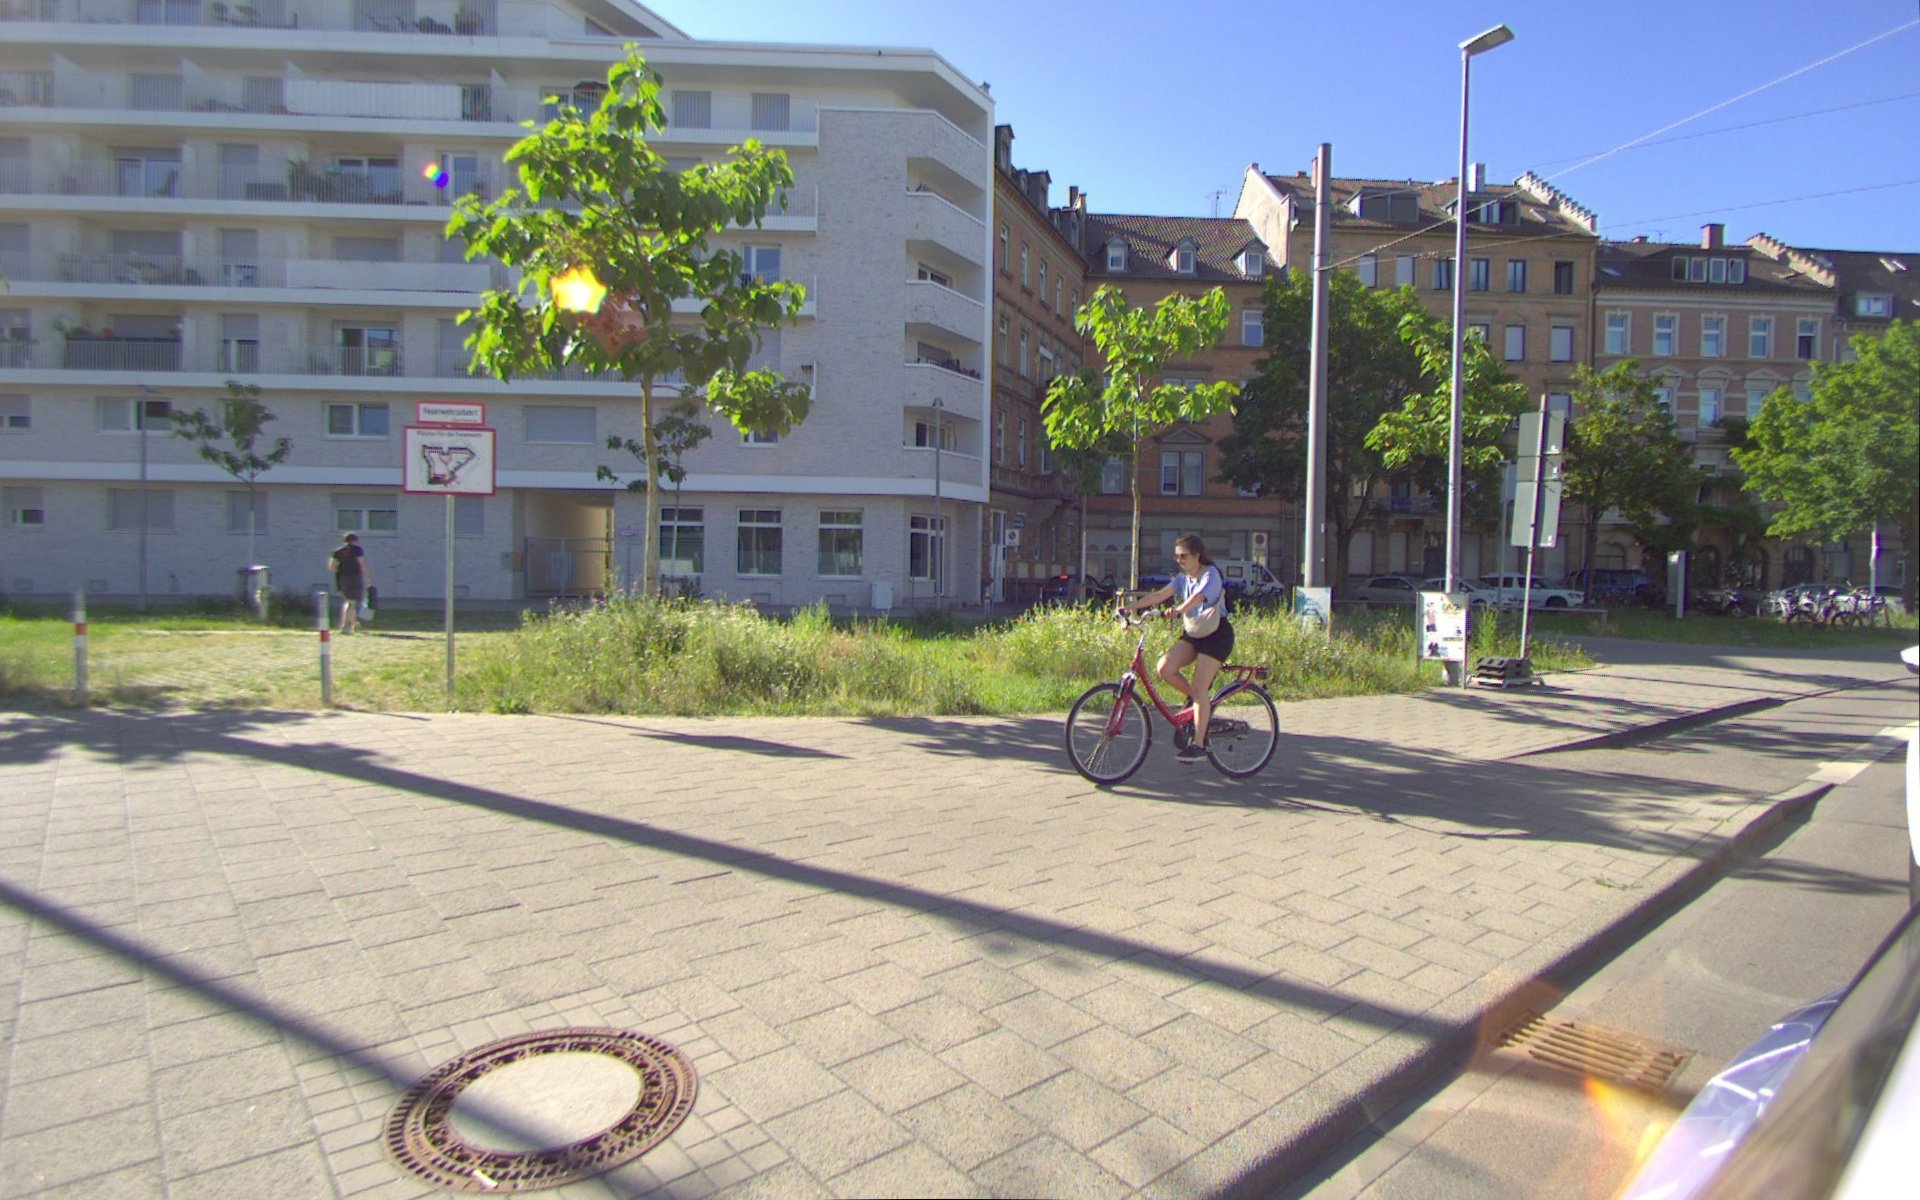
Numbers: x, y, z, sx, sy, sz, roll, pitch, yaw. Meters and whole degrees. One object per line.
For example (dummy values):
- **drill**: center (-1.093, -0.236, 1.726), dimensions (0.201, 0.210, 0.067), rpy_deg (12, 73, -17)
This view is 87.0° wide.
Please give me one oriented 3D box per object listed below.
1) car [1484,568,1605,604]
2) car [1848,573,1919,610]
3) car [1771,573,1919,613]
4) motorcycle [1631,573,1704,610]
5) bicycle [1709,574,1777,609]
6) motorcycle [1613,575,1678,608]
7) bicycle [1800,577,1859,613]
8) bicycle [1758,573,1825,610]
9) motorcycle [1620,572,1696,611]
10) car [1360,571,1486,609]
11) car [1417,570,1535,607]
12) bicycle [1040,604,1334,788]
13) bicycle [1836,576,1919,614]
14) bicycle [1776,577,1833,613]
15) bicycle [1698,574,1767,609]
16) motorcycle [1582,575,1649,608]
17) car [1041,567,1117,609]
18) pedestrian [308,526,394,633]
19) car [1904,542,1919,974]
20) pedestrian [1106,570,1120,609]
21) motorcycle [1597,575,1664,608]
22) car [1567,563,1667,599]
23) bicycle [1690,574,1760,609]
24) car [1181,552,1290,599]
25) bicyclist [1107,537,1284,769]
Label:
- **car**: center (22.330, -0.582, 38.776), dimensions (1.513, 1.267, 3.700), rpy_deg (-1, 3, -39)
- **car**: center (37.823, -0.333, 39.965), dimensions (1.649, 1.423, 3.832), rpy_deg (-1, 3, -32)
- **car**: center (34.686, -0.324, 39.595), dimensions (1.651, 1.423, 4.324), rpy_deg (-1, 3, -38)
- **motorcycle**: center (26.155, -0.324, 37.471), dimensions (0.649, 1.339, 2.208), rpy_deg (0, 0, -23)
- **bicycle**: center (29.725, -0.329, 38.466), dimensions (0.649, 1.284, 2.208), rpy_deg (0, 0, -9)
- **motorcycle**: center (27.489, -0.338, 40.614), dimensions (0.649, 1.284, 2.209), rpy_deg (0, 0, -18)
- **bicycle**: center (32.036, -0.196, 37.337), dimensions (0.653, 1.284, 2.196), rpy_deg (0, 0, 12)
- **bicycle**: center (29.275, -0.295, 35.676), dimensions (0.651, 1.284, 2.202), rpy_deg (0, 0, 4)
- **motorcycle**: center (25.339, -0.309, 36.782), dimensions (0.650, 1.347, 2.207), rpy_deg (0, 0, -28)
- **car**: center (17.350, -0.425, 38.110), dimensions (1.648, 1.267, 4.170), rpy_deg (0, 3, -28)
- **car**: center (19.673, -0.471, 38.720), dimensions (1.648, 1.267, 3.709), rpy_deg (0, 3, -28)
- **bicycle**: center (1.515, 0.608, 6.787), dimensions (1.782, 1.085, 0.671), rpy_deg (1, 3, -19)
- **bicycle**: center (31.631, -0.169, 34.766), dimensions (2.180, 1.284, 0.657), rpy_deg (0, 0, 25)
- **bicycle**: center (30.942, -0.188, 37.113), dimensions (0.653, 1.284, 2.196), rpy_deg (0, 0, 12)
- **bicycle**: center (29.082, -0.323, 38.155), dimensions (0.649, 1.284, 2.208), rpy_deg (0, 0, -9)
- **motorcycle**: center (26.027, -0.332, 40.228), dimensions (0.649, 1.293, 2.324), rpy_deg (0, 0, -18)
- **car**: center (4.568, -0.508, 38.300), dimensions (1.811, 1.444, 4.359), rpy_deg (1, 2, 21)
- **pedestrian**: center (-10.251, -0.357, 17.067), dimensions (0.829, 1.717, 0.985), rpy_deg (2, 2, 2)
- **car**: center (5.871, 0.608, 4.718), dimensions (4.323, 1.667, 1.840), rpy_deg (0, 0, -43)
- **pedestrian**: center (5.735, -0.392, 37.911), dimensions (0.500, 1.474, 0.480), rpy_deg (0, 0, 11)
- **motorcycle**: center (26.698, -0.340, 40.360), dimensions (0.649, 1.300, 2.324), rpy_deg (0, 0, -18)
- **car**: center (30.876, -0.925, 47.653), dimensions (3.631, 1.607, 1.552), rpy_deg (1, 2, 0)
- **bicycle**: center (28.371, -0.314, 37.568), dimensions (0.649, 1.284, 2.208), rpy_deg (0, 0, -11)
- **car**: center (12.661, -1.158, 46.785), dimensions (4.416, 2.062, 2.054), rpy_deg (1, 2, 0)
- **bicyclist**: center (1.561, 0.324, 6.784), dimensions (0.920, 1.454, 0.670), rpy_deg (0, 1, -19)
